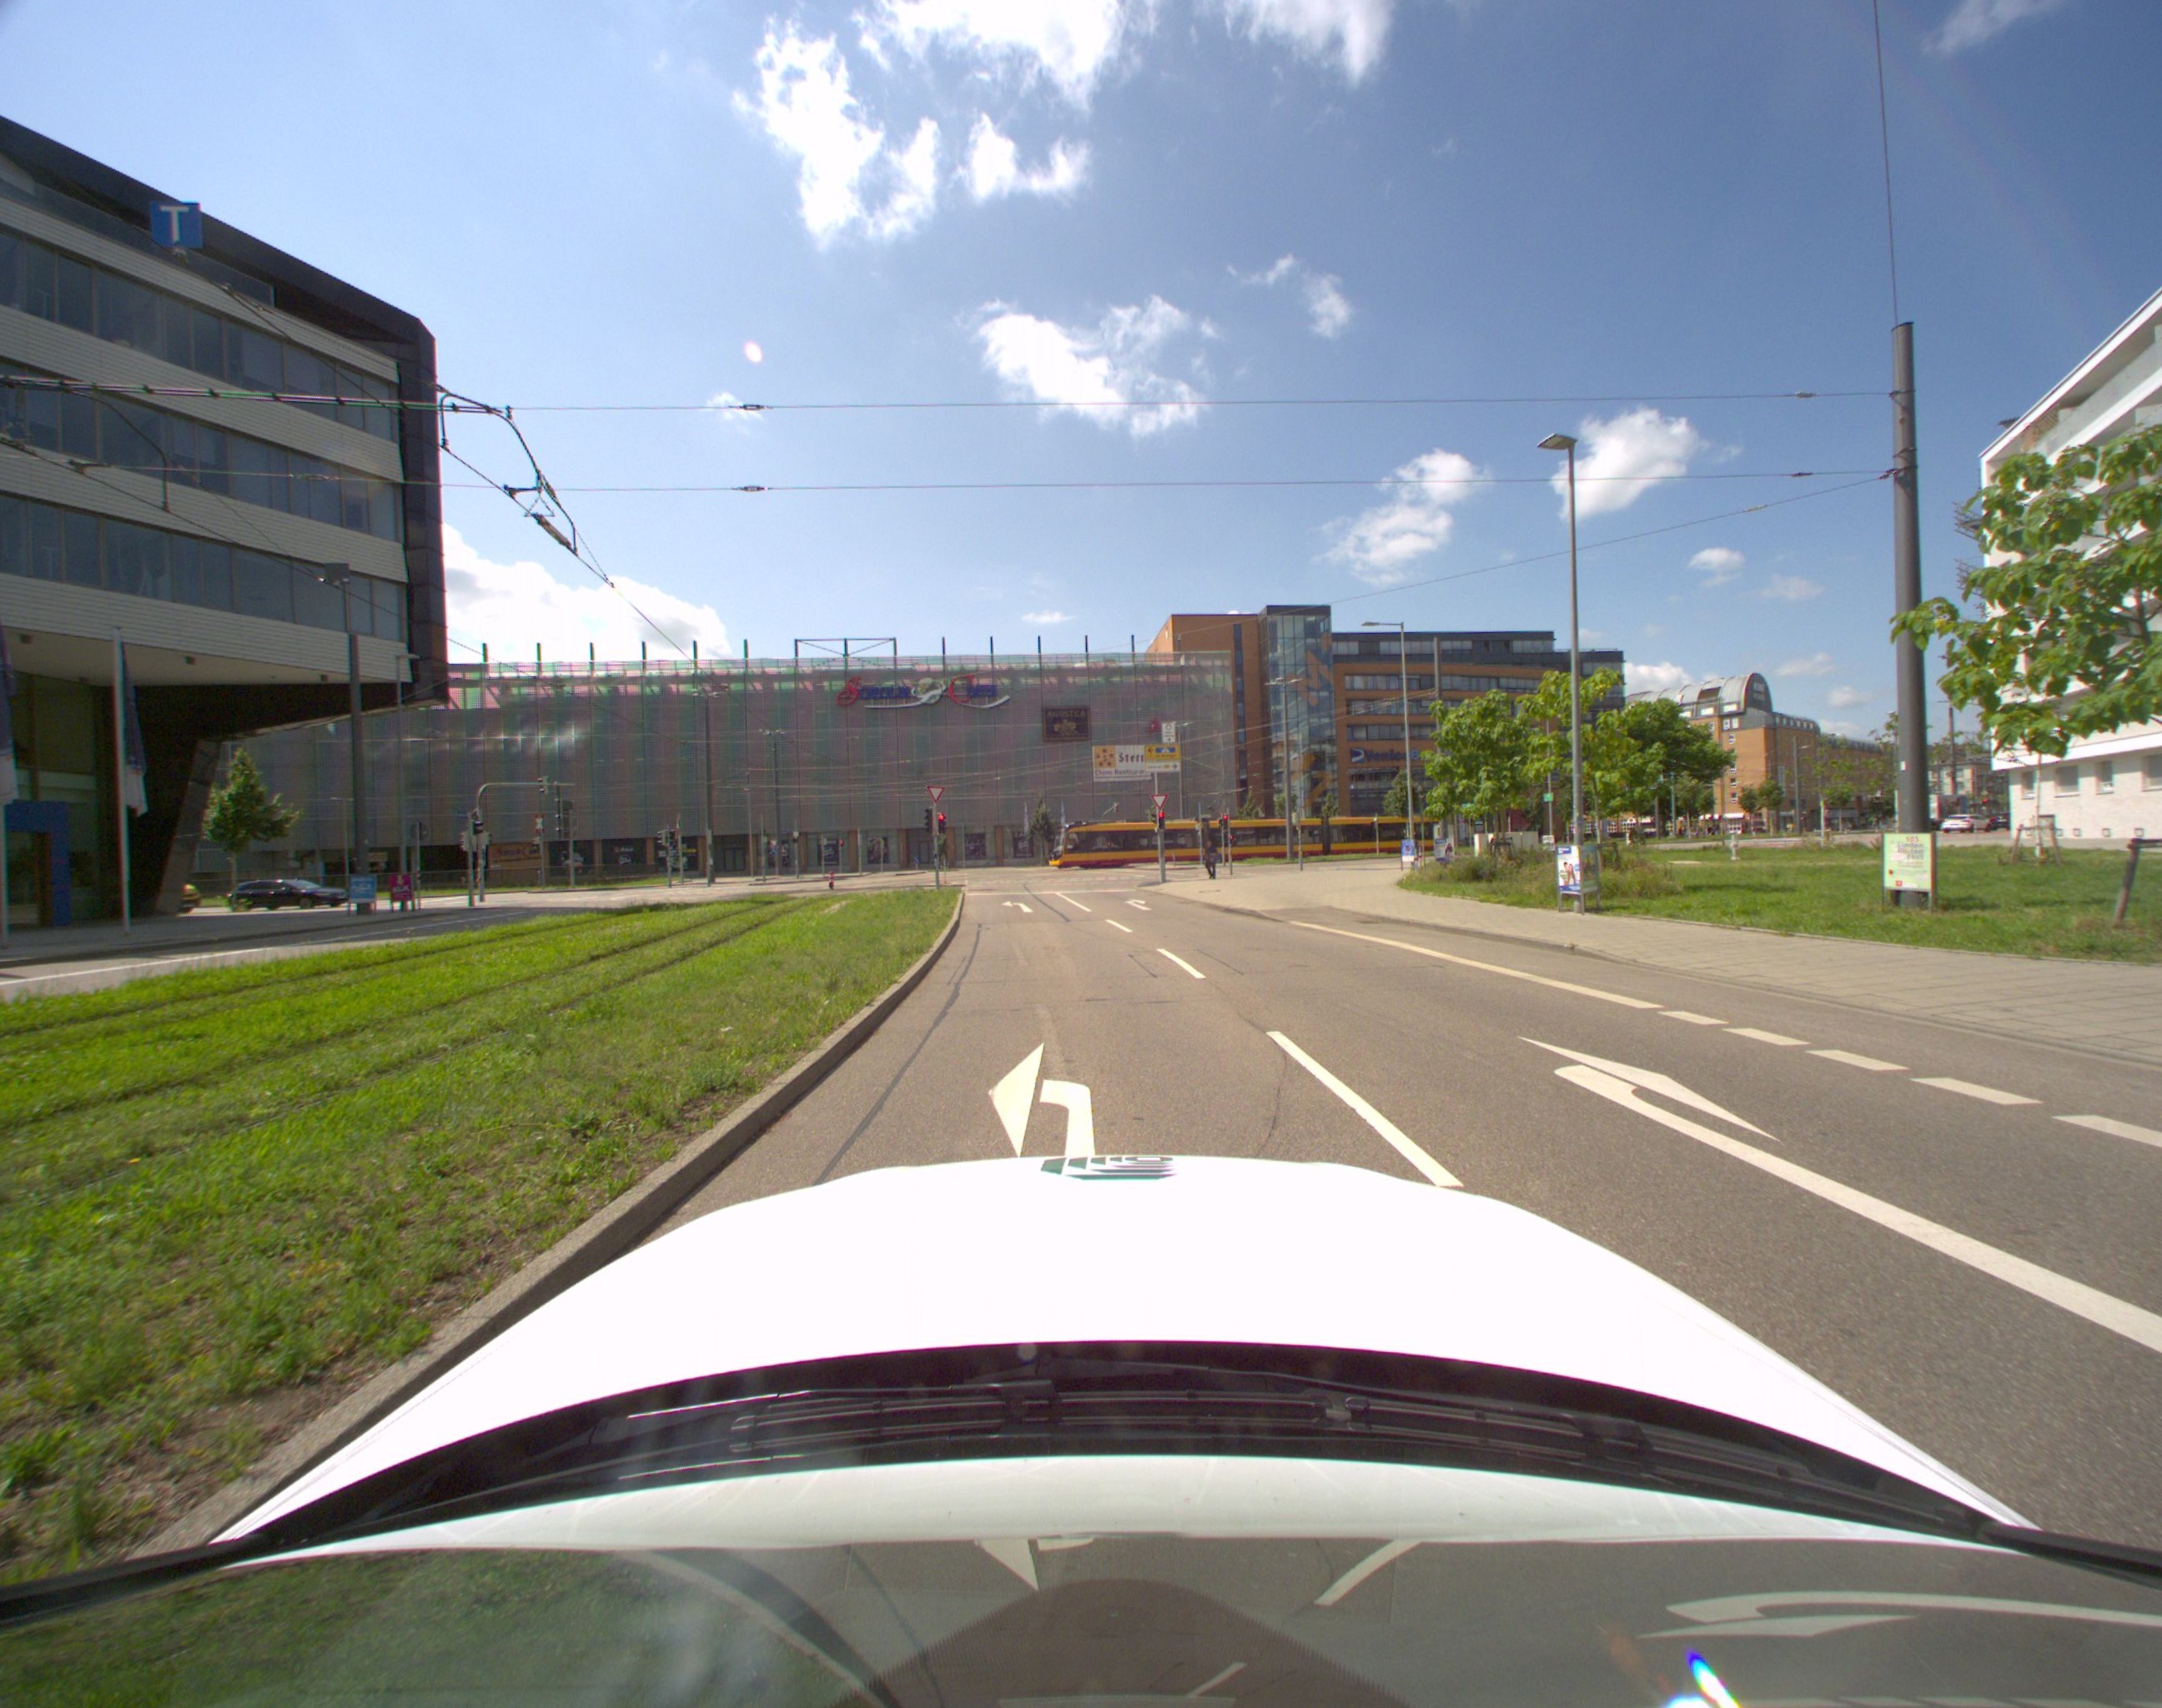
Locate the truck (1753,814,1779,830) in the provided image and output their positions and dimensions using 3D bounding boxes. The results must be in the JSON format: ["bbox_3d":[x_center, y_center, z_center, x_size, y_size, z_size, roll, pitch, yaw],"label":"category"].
[{"bbox_3d":[93.501,-4.304,111.206,5.554,2.085,1.976,-1,1,-42],"label":"truck"}]

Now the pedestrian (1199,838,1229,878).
[{"bbox_3d":[5.932,0.188,36.370,0.812,1.702,0.909,-3,0,-35],"label":"pedestrian"}]

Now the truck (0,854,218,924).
[{"bbox_3d":[-44.710,1.558,37.433,6.841,2.829,2.441,-2,0,-7],"label":"truck"}]

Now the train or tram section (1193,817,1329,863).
[{"bbox_3d":[14.924,-1.191,67.361,10.986,3.603,3.047,-1,0,-18],"label":"train or tram section"}]

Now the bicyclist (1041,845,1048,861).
[{"bbox_3d":[-3.870,-0.120,86.256,0.661,1.623,0.550,-1,0,-5],"label":"bicyclist"}]

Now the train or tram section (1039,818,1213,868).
[{"bbox_3d":[3.605,-0.925,62.464,13.528,3.599,3.199,-1,0,-27],"label":"train or tram section"}]

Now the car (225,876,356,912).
[{"bbox_3d":[-37.071,1.857,38.270,4.092,1.469,1.824,-2,0,-6],"label":"car"}]

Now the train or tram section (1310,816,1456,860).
[{"bbox_3d":[26.273,-1.423,70.868,12.622,3.621,3.048,-1,0,-17],"label":"train or tram section"}]

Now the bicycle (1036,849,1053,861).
[{"bbox_3d":[-3.838,0.092,86.262,1.758,1.224,0.583,-1,0,-6],"label":"bicycle"}]
